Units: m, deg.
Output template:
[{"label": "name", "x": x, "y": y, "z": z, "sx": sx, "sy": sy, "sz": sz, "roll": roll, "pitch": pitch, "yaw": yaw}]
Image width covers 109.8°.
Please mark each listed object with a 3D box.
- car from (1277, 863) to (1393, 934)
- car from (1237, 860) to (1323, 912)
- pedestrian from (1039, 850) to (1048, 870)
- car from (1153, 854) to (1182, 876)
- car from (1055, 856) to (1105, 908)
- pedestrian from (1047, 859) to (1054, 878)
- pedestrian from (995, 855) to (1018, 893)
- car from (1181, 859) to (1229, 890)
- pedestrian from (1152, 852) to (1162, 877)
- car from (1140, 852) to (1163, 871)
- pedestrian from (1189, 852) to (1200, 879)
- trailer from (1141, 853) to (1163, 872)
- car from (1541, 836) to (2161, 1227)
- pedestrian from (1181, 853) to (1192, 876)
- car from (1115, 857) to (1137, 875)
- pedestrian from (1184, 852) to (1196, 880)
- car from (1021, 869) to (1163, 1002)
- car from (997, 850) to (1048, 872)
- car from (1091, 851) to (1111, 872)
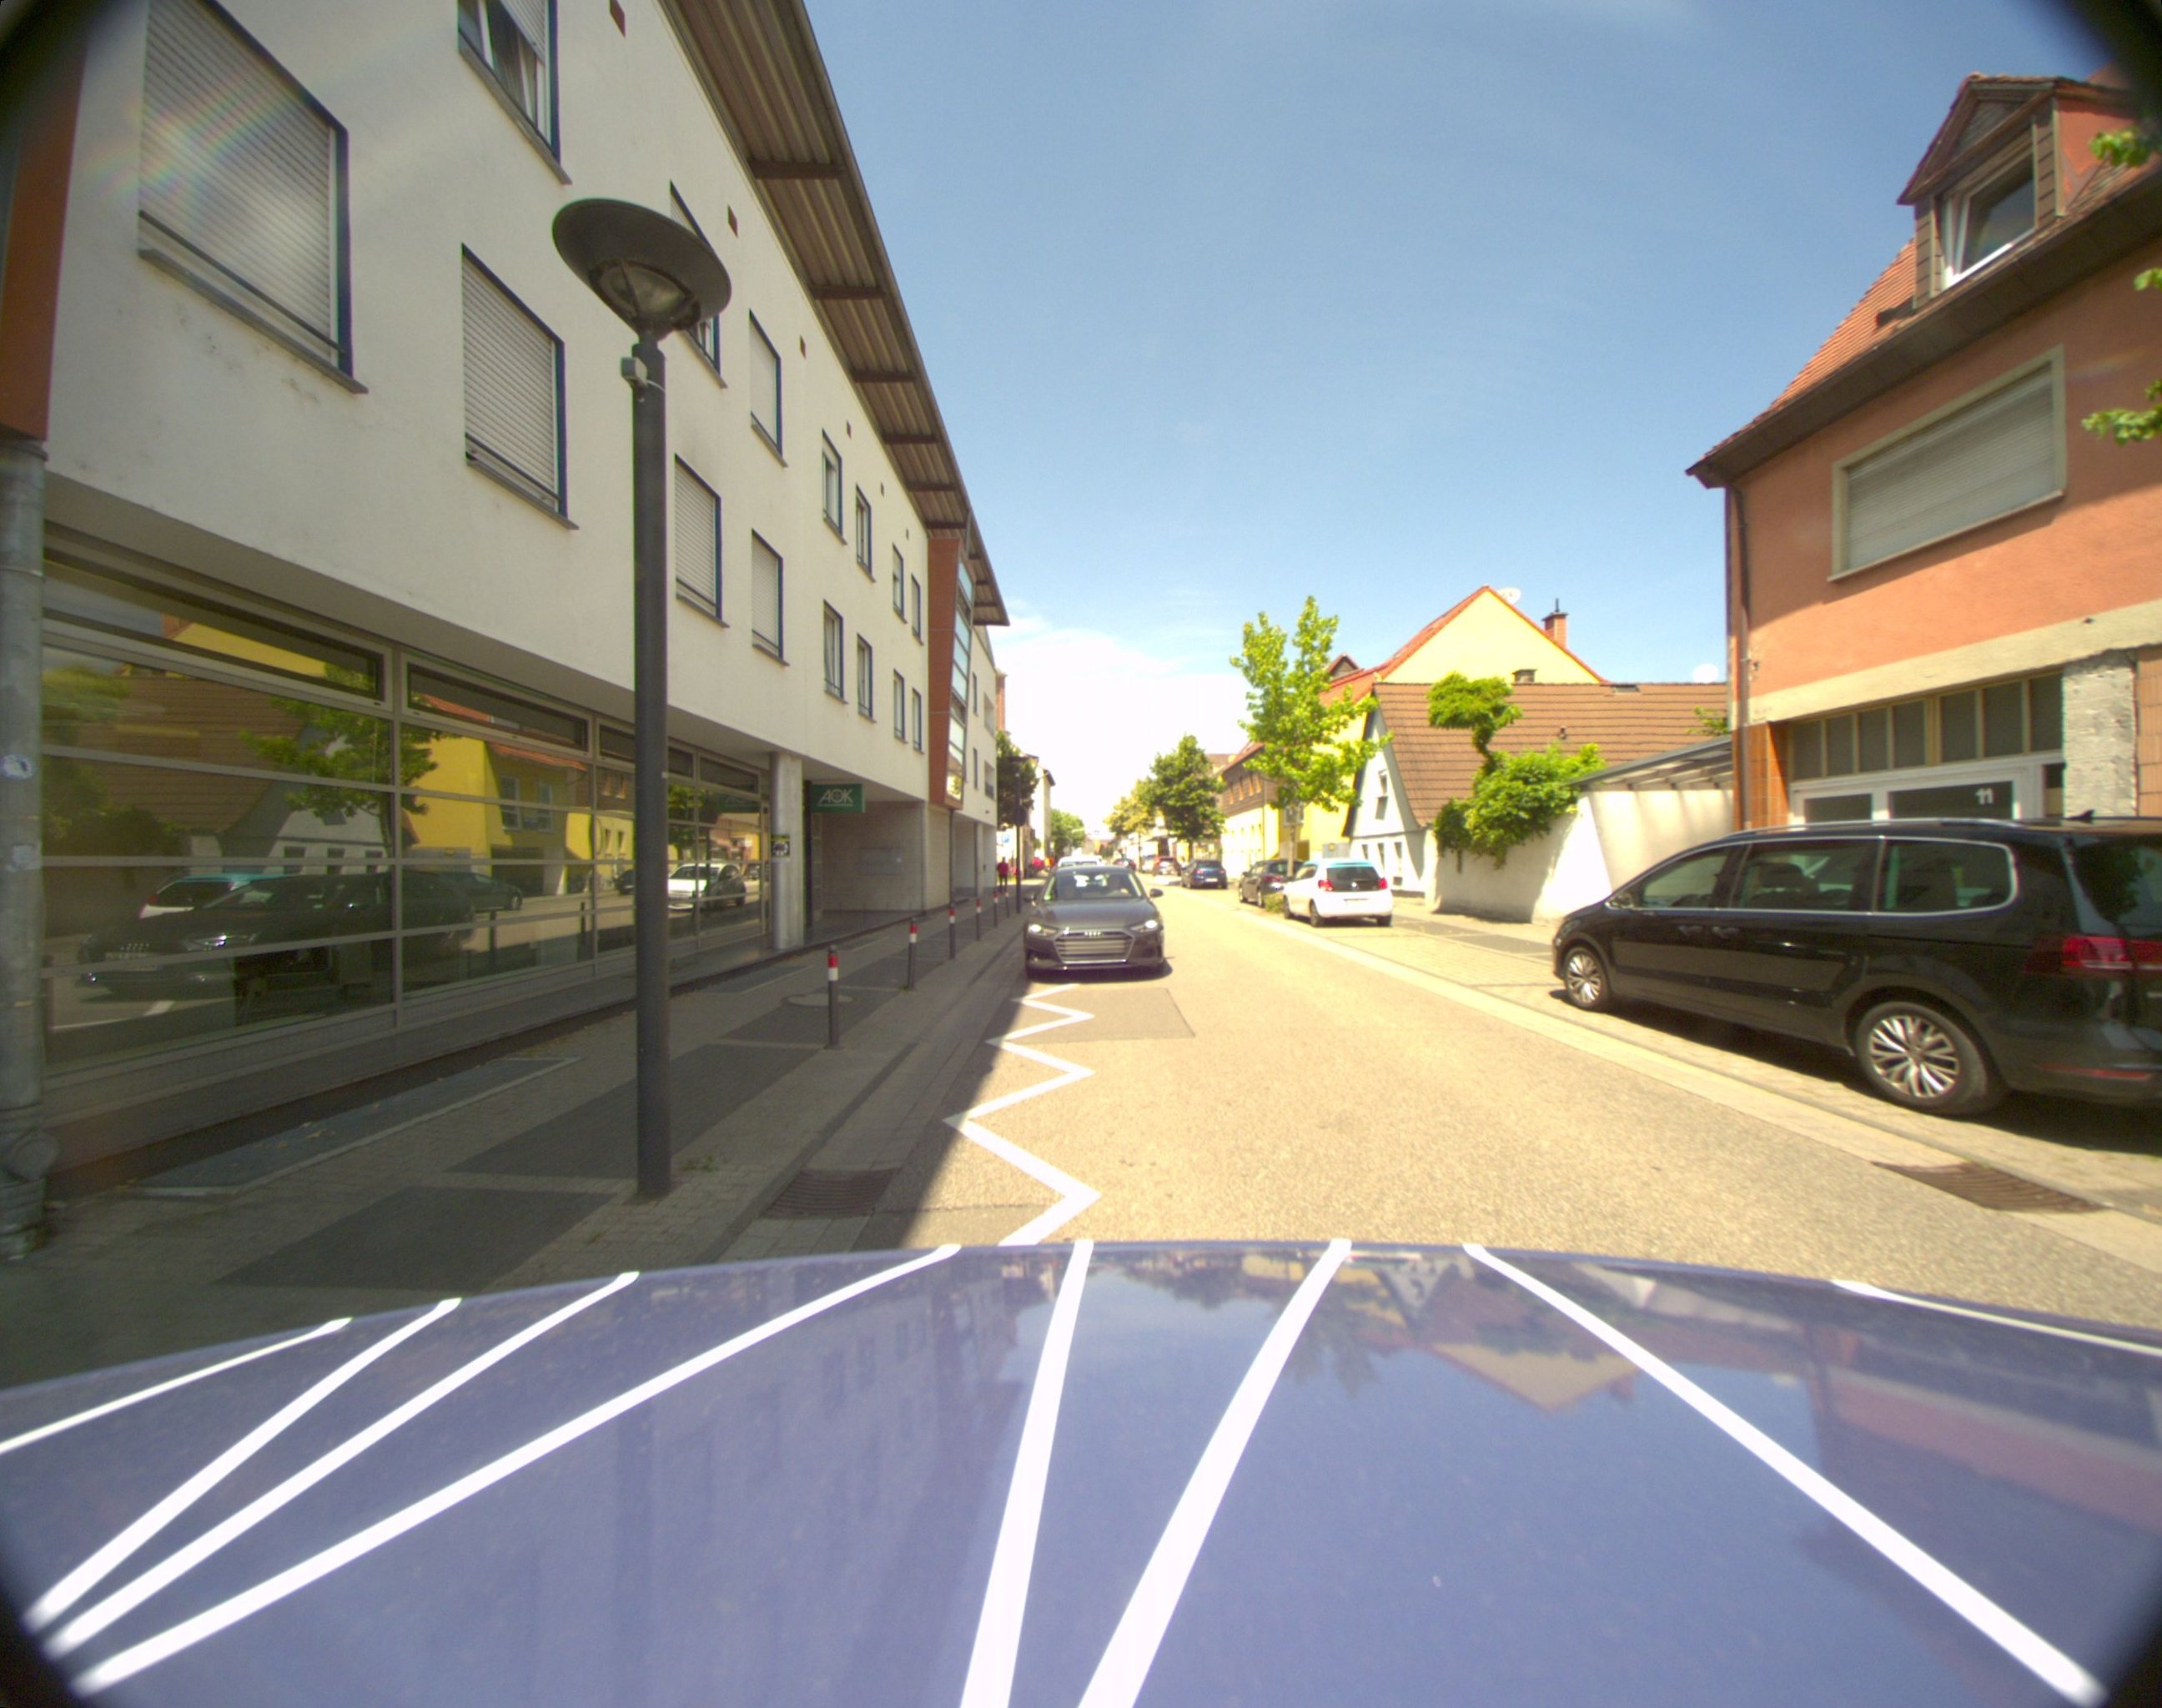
[{"label": "car", "x": 5.686, "y": 0.937, "z": 17.379, "sx": 1.557, "sy": 1.422, "sz": 3.410, "roll": 0, "pitch": 0, "yaw": 1}, {"label": "car", "x": 6.061, "y": 0.930, "z": 23.593, "sx": 1.649, "sy": 1.422, "sz": 4.099, "roll": 1, "pitch": 0, "yaw": 1}, {"label": "pedestrian", "x": -3.553, "y": 0.584, "z": 72.284, "sx": 0.580, "sy": 1.875, "sz": 0.696, "roll": 1, "pitch": 1, "yaw": 42}, {"label": "car", "x": 6.316, "y": 0.770, "z": 55.843, "sx": 1.753, "sy": 1.566, "sz": 4.158, "roll": -1, "pitch": 0, "yaw": 1}, {"label": "car", "x": -0.012, "y": 0.896, "z": 26.126, "sx": 1.581, "sy": 1.620, "sz": 4.065, "roll": 0, "pitch": 0, "yaw": 0}, {"label": "pedestrian", "x": -2.937, "y": 1.428, "z": 73.799, "sx": 0.581, "sy": 1.875, "sz": 0.695, "roll": 0, "pitch": 0, "yaw": 3}, {"label": "pedestrian", "x": -3.180, "y": 0.831, "z": 32.391, "sx": 0.825, "sy": 1.579, "sz": 0.919, "roll": 2, "pitch": 0, "yaw": 1}, {"label": "car", "x": 5.891, "y": 0.945, "z": 36.518, "sx": 1.660, "sy": 1.399, "sz": 4.158, "roll": 0, "pitch": 0, "yaw": 1}, {"label": "pedestrian", "x": 5.222, "y": 0.718, "z": 52.143, "sx": 0.643, "sy": 1.645, "sz": 0.624, "roll": 0, "pitch": 0, "yaw": 1}, {"label": "car", "x": 6.726, "y": 0.690, "z": 72.622, "sx": 1.695, "sy": 1.742, "sz": 3.999, "roll": -3, "pitch": 0, "yaw": -1}, {"label": "pedestrian", "x": 6.766, "y": 0.689, "z": 45.333, "sx": 0.631, "sy": 1.592, "sz": 0.528, "roll": 0, "pitch": 0, "yaw": 1}, {"label": "trailer", "x": 6.356, "y": 0.789, "z": 68.446, "sx": 1.493, "sy": 1.571, "sz": 3.883, "roll": -3, "pitch": 0, "yaw": -1}, {"label": "car", "x": 5.638, "y": 0.779, "z": 5.592, "sx": 1.780, "sy": 1.716, "sz": 4.520, "roll": -1, "pitch": 0, "yaw": 0}, {"label": "pedestrian", "x": 7.260, "y": 0.705, "z": 52.462, "sx": 0.663, "sy": 1.592, "sz": 0.771, "roll": 0, "pitch": 0, "yaw": 1}, {"label": "car", "x": 3.831, "y": 0.999, "z": 65.360, "sx": 1.693, "sy": 1.464, "sz": 4.000, "roll": 0, "pitch": 0, "yaw": 0}, {"label": "pedestrian", "x": 6.382, "y": 0.697, "z": 44.484, "sx": 0.631, "sy": 1.592, "sz": 0.528, "roll": 0, "pitch": 0, "yaw": 1}, {"label": "car", "x": 0.143, "y": 0.969, "z": 10.700, "sx": 1.581, "sy": 1.424, "sz": 4.065, "roll": -1, "pitch": 0, "yaw": 0}, {"label": "car", "x": -5.008, "y": 0.611, "z": 65.191, "sx": 4.203, "sy": 1.849, "sz": 2.000, "roll": 0, "pitch": 0, "yaw": 0}, {"label": "car", "x": 1.562, "y": 0.560, "z": 60.766, "sx": 1.581, "sy": 1.620, "sz": 4.065, "roll": 0, "pitch": 0, "yaw": 0}]
